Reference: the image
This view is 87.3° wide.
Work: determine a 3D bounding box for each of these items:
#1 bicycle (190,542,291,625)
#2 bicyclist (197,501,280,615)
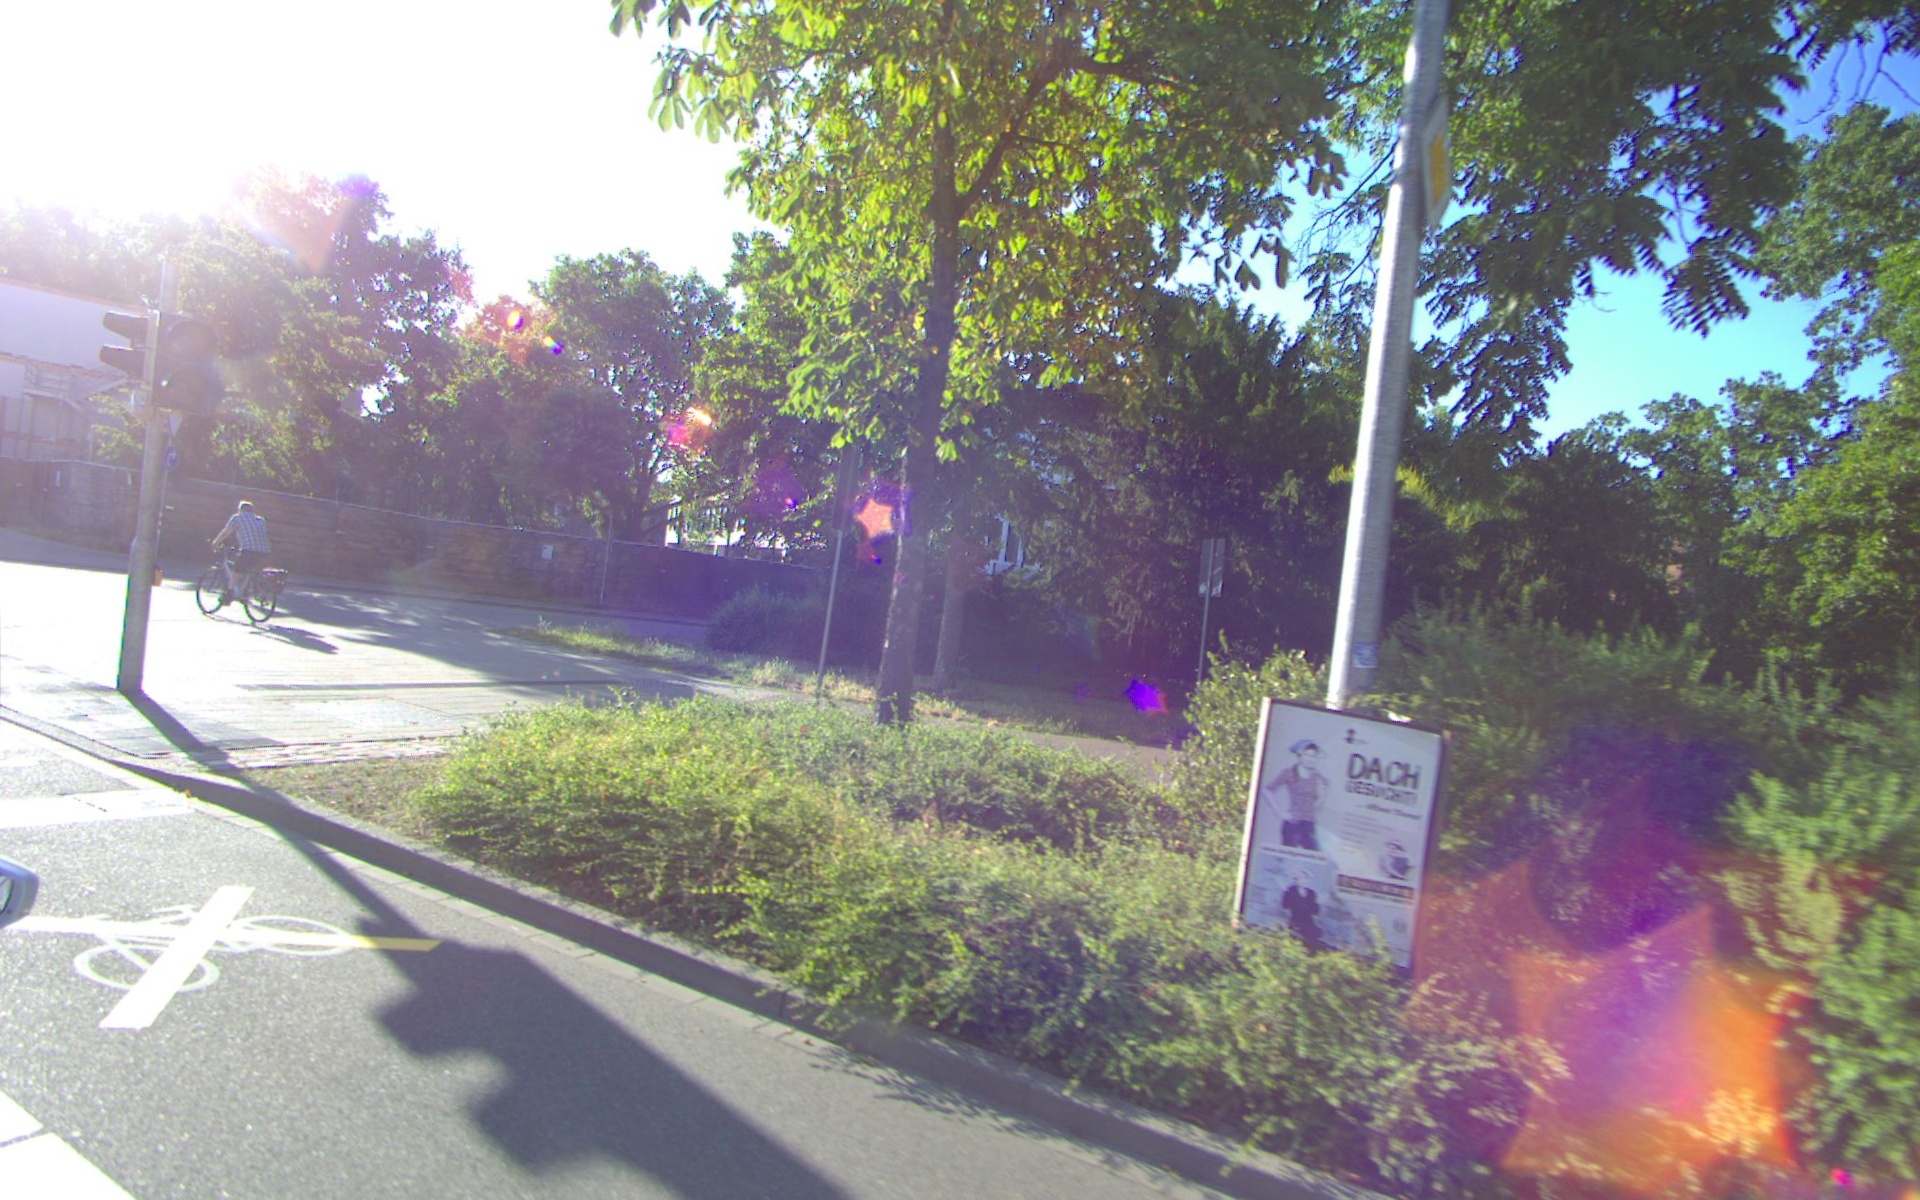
[{"bbox_3d":[-11.184,-0.270,15.617,1.878,1.074,0.428,7,1,29],"label":"bicycle"},{"bbox_3d":[-11.158,-0.650,15.559,0.887,1.634,0.585,7,1,28],"label":"bicyclist"}]
